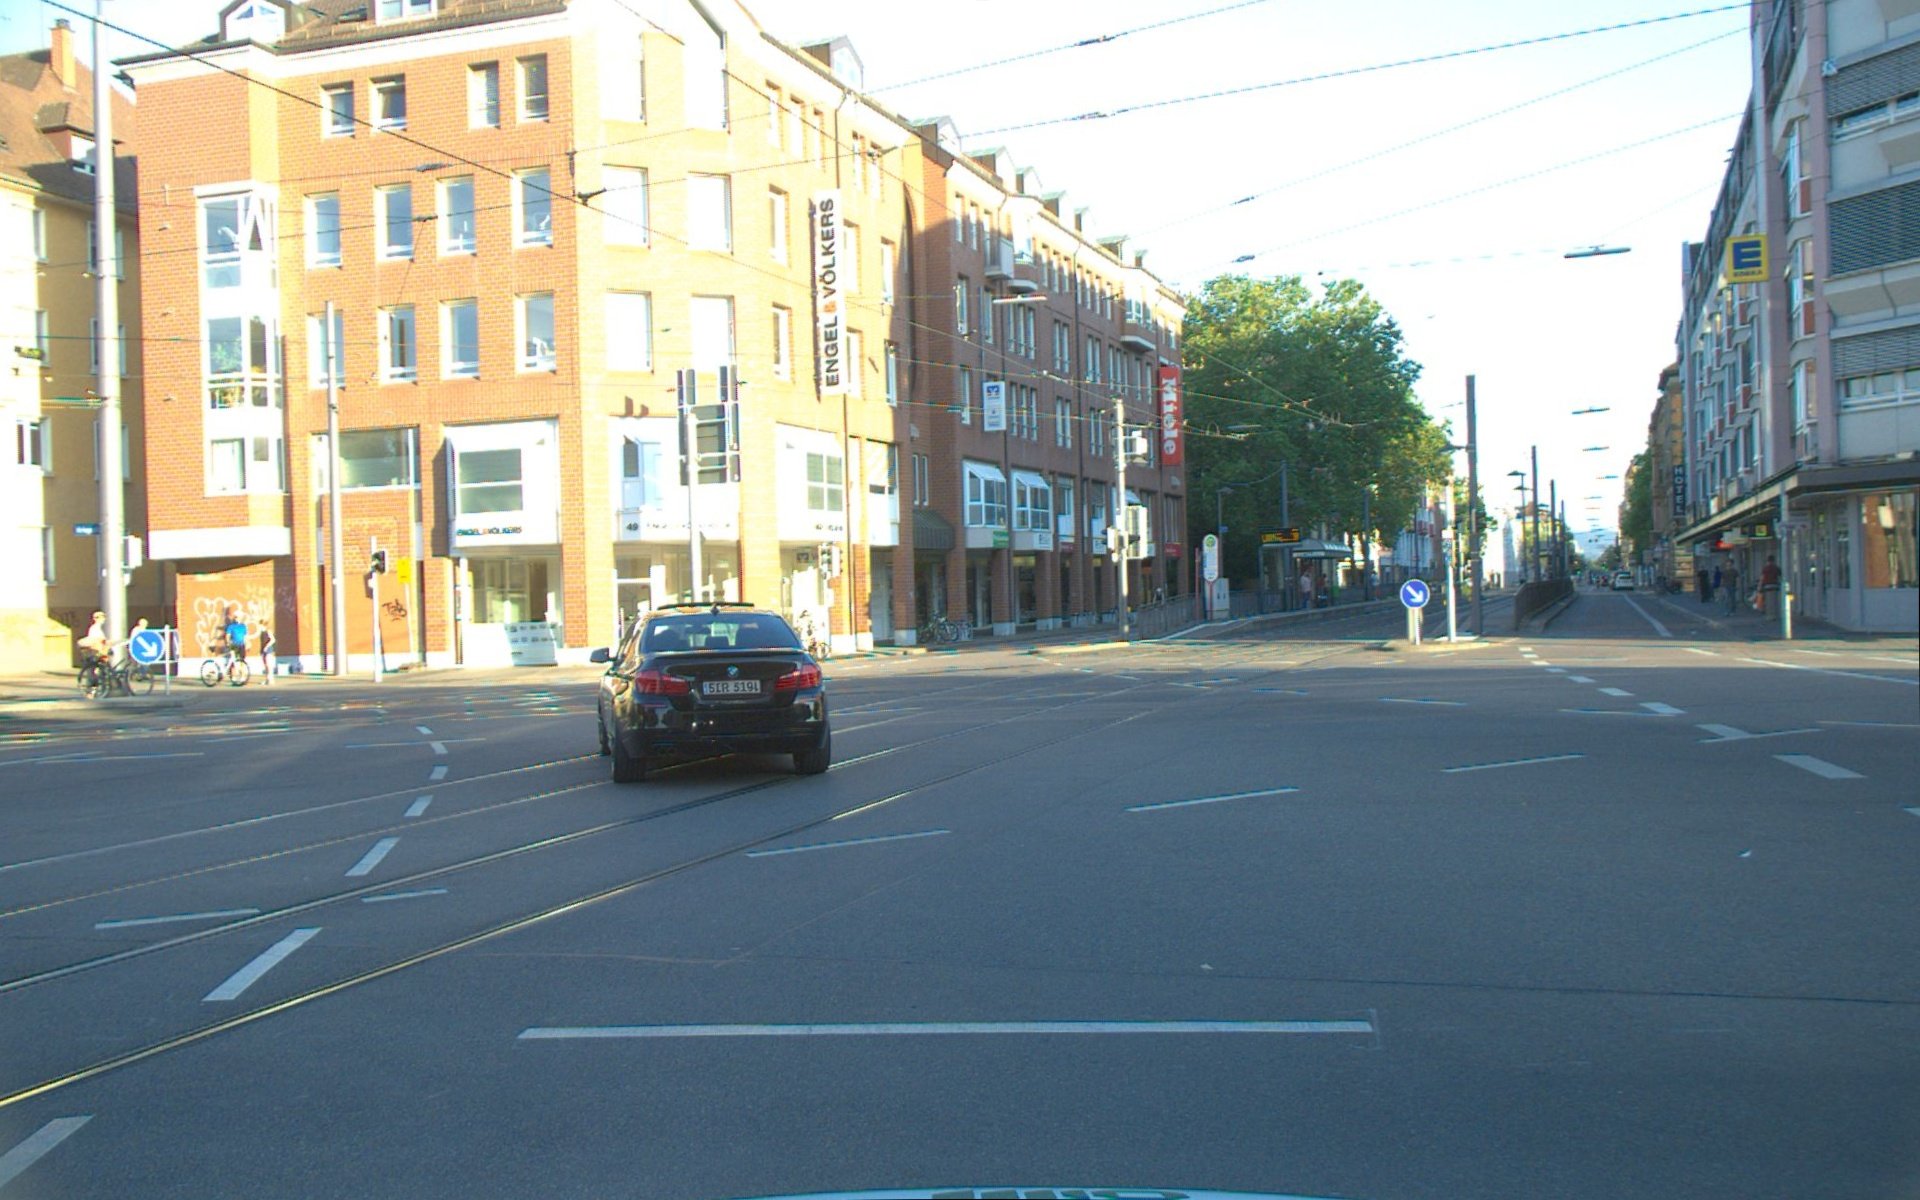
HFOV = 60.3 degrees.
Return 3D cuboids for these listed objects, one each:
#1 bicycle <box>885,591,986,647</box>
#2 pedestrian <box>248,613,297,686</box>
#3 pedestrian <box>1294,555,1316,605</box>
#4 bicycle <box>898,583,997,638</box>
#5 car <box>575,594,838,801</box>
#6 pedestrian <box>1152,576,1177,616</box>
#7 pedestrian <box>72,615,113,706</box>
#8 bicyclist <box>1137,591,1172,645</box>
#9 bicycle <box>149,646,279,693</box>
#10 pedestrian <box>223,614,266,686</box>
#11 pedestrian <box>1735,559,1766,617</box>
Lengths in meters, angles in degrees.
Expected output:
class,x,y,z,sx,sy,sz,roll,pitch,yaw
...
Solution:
class,x,y,z,sx,sy,sz,roll,pitch,yaw
bicycle,-0.834,0.646,56.099,3.229,1.756,1.069,-2,0,21
pedestrian,-17.703,1.261,42.593,0.851,1.824,0.711,-2,0,9
pedestrian,14.498,-0.839,69.497,0.791,2.049,0.678,-2,0,17
bicycle,-0.432,0.367,57.193,3.228,1.756,1.070,-2,0,20
car,-2.493,0.760,15.355,1.812,1.521,4.273,-3,1,-16
pedestrian,10.538,-0.217,85.291,1.062,2.049,1.085,-2,0,16
pedestrian,-16.832,1.172,32.078,0.503,1.738,0.419,-2,0,18
bicyclist,9.343,0.847,79.525,1.263,2.511,1.669,-2,0,19
bicycle,-18.879,1.758,41.870,2.989,1.035,0.932,-2,0,11
pedestrian,-18.462,1.286,42.684,0.623,1.809,0.816,-2,0,11
pedestrian,22.223,-0.347,46.515,0.691,1.575,0.907,0,4,18
